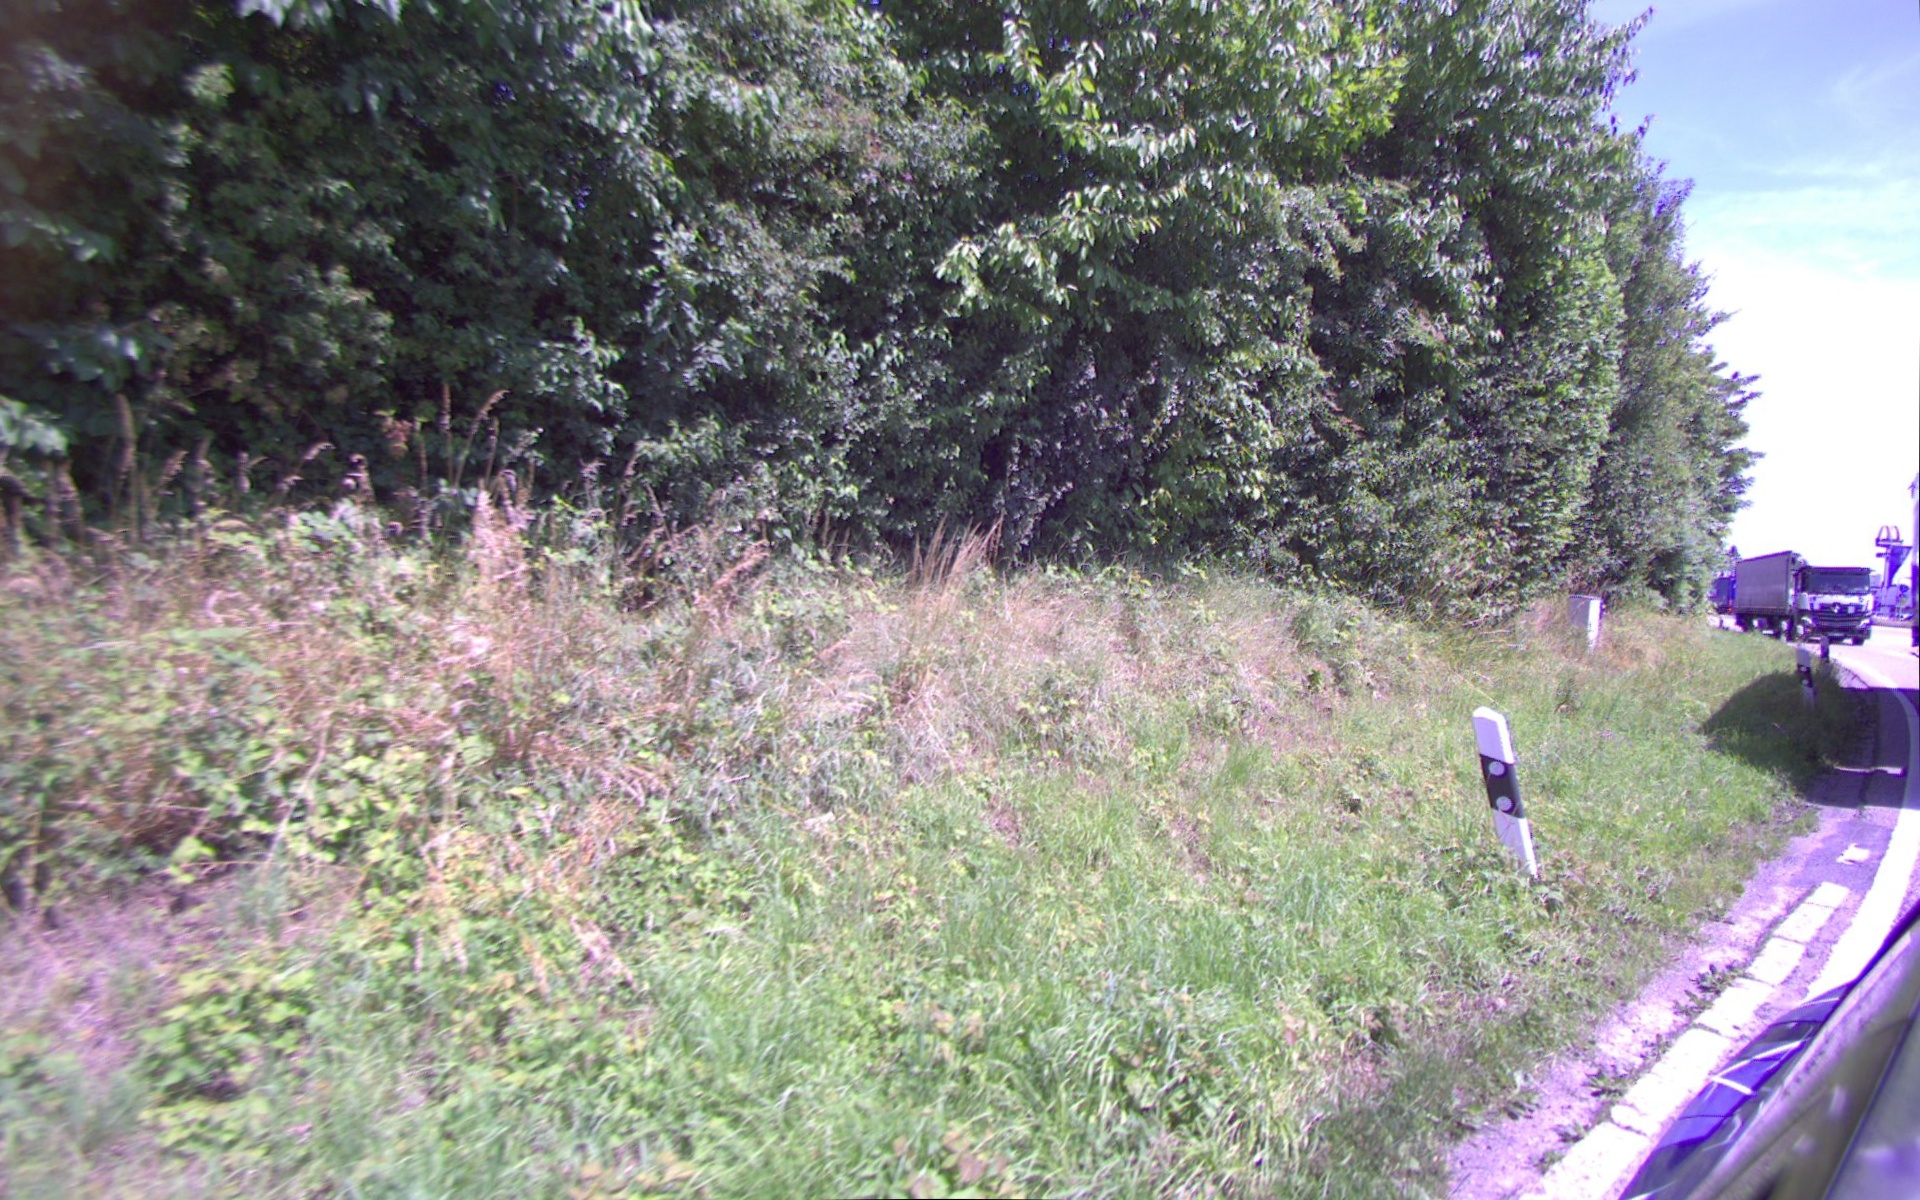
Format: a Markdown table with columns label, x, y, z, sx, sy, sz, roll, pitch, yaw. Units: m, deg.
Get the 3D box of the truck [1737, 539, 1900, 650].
| label | x | y | z | sx | sy | sz | roll | pitch | yaw |
| --- | --- | --- | --- | --- | --- | --- | --- | --- | --- |
| truck | 41.193 | -0.412 | 49.313 | 2.957 | 4.527 | 16.285 | 0 | 1 | 29 |
